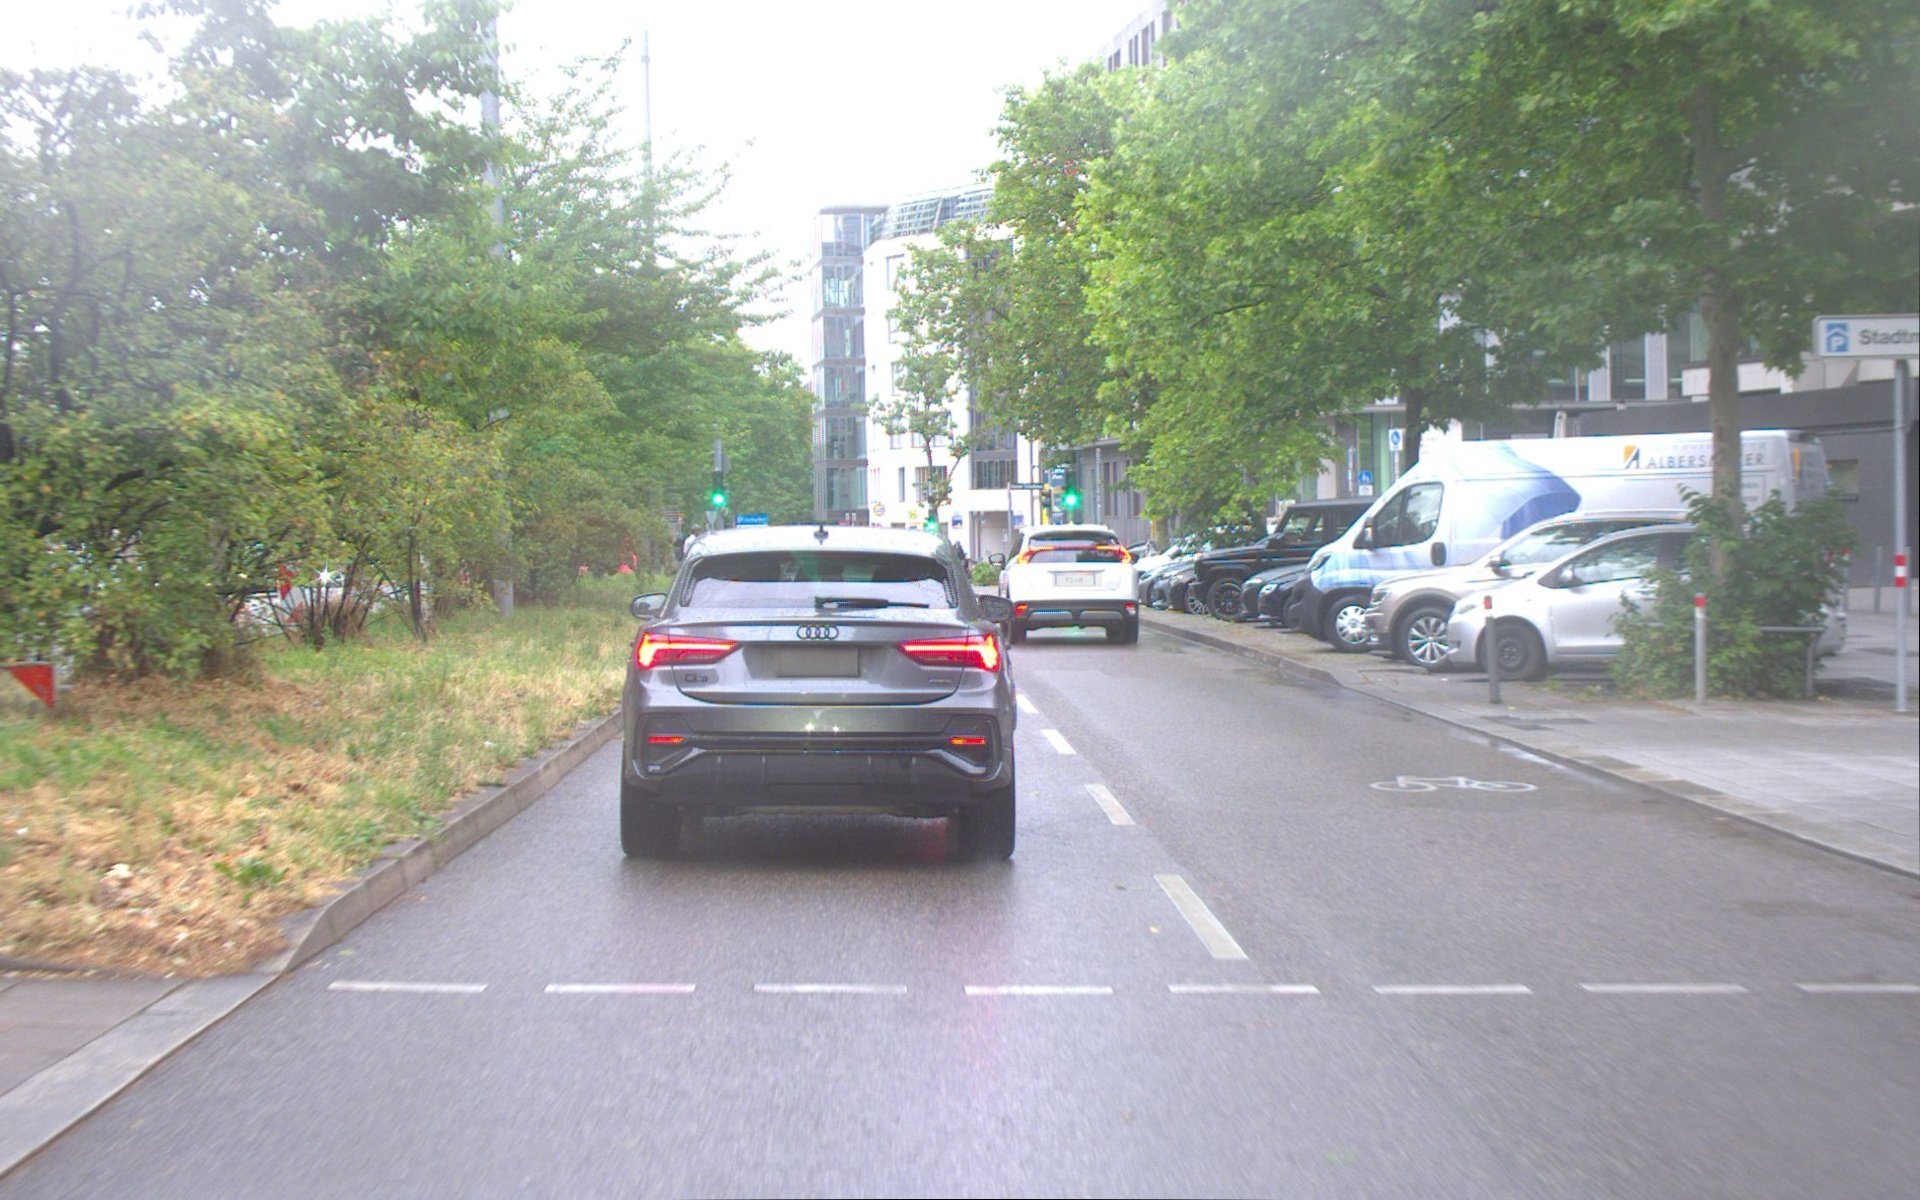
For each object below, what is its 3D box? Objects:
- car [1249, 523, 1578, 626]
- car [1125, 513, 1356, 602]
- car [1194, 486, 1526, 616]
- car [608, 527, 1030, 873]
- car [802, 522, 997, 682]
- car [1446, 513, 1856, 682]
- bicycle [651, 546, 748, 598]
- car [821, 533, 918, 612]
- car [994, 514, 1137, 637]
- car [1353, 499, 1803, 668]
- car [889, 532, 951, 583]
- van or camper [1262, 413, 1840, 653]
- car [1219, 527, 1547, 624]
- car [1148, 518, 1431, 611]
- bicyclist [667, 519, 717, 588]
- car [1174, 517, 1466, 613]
[{"bbox_3d":[6.543,-0.365,49.632,4.370,1.431,1.759,0,1,26],"label":"car"},{"bbox_3d":[5.646,-0.850,69.246,4.223,1.663,1.836,-1,1,26],"label":"car"},{"bbox_3d":[6.463,-0.786,55.614,4.943,1.972,1.927,-1,1,25],"label":"car"},{"bbox_3d":[-0.663,0.407,17.124,1.849,1.518,4.039,0,1,-1],"label":"car"},{"bbox_3d":[-0.595,-0.014,34.741,1.849,1.518,4.039,0,1,0],"label":"car"},{"bbox_3d":[6.621,-0.052,32.879,3.652,1.542,1.713,0,1,19],"label":"car"},{"bbox_3d":[-6.276,-0.682,82.918,2.254,1.158,0.751,2,0,-1],"label":"bicycle"},{"bbox_3d":[-1.755,-0.554,67.634,1.849,1.518,4.039,0,1,0],"label":"car"},{"bbox_3d":[1.437,-0.361,48.349,1.849,1.663,4.039,0,1,0],"label":"car"},{"bbox_3d":[6.401,-0.198,35.640,4.262,1.662,1.816,1,1,26],"label":"car"},{"bbox_3d":[-1.208,-1.298,104.241,1.849,1.518,4.039,0,1,0],"label":"car"},{"bbox_3d":[6.637,-0.726,38.818,6.074,2.549,2.102,0,1,27],"label":"van or camper"},{"bbox_3d":[6.481,-0.367,52.783,4.629,1.390,1.844,-1,0,28],"label":"car"},{"bbox_3d":[5.903,-0.640,61.439,4.777,1.528,1.868,-1,1,14],"label":"car"},{"bbox_3d":[-6.465,-1.111,82.917,1.104,1.616,0.751,2,0,-1],"label":"bicyclist"},{"bbox_3d":[6.122,-0.591,58.526,4.559,1.501,1.867,-1,1,24],"label":"car"}]
